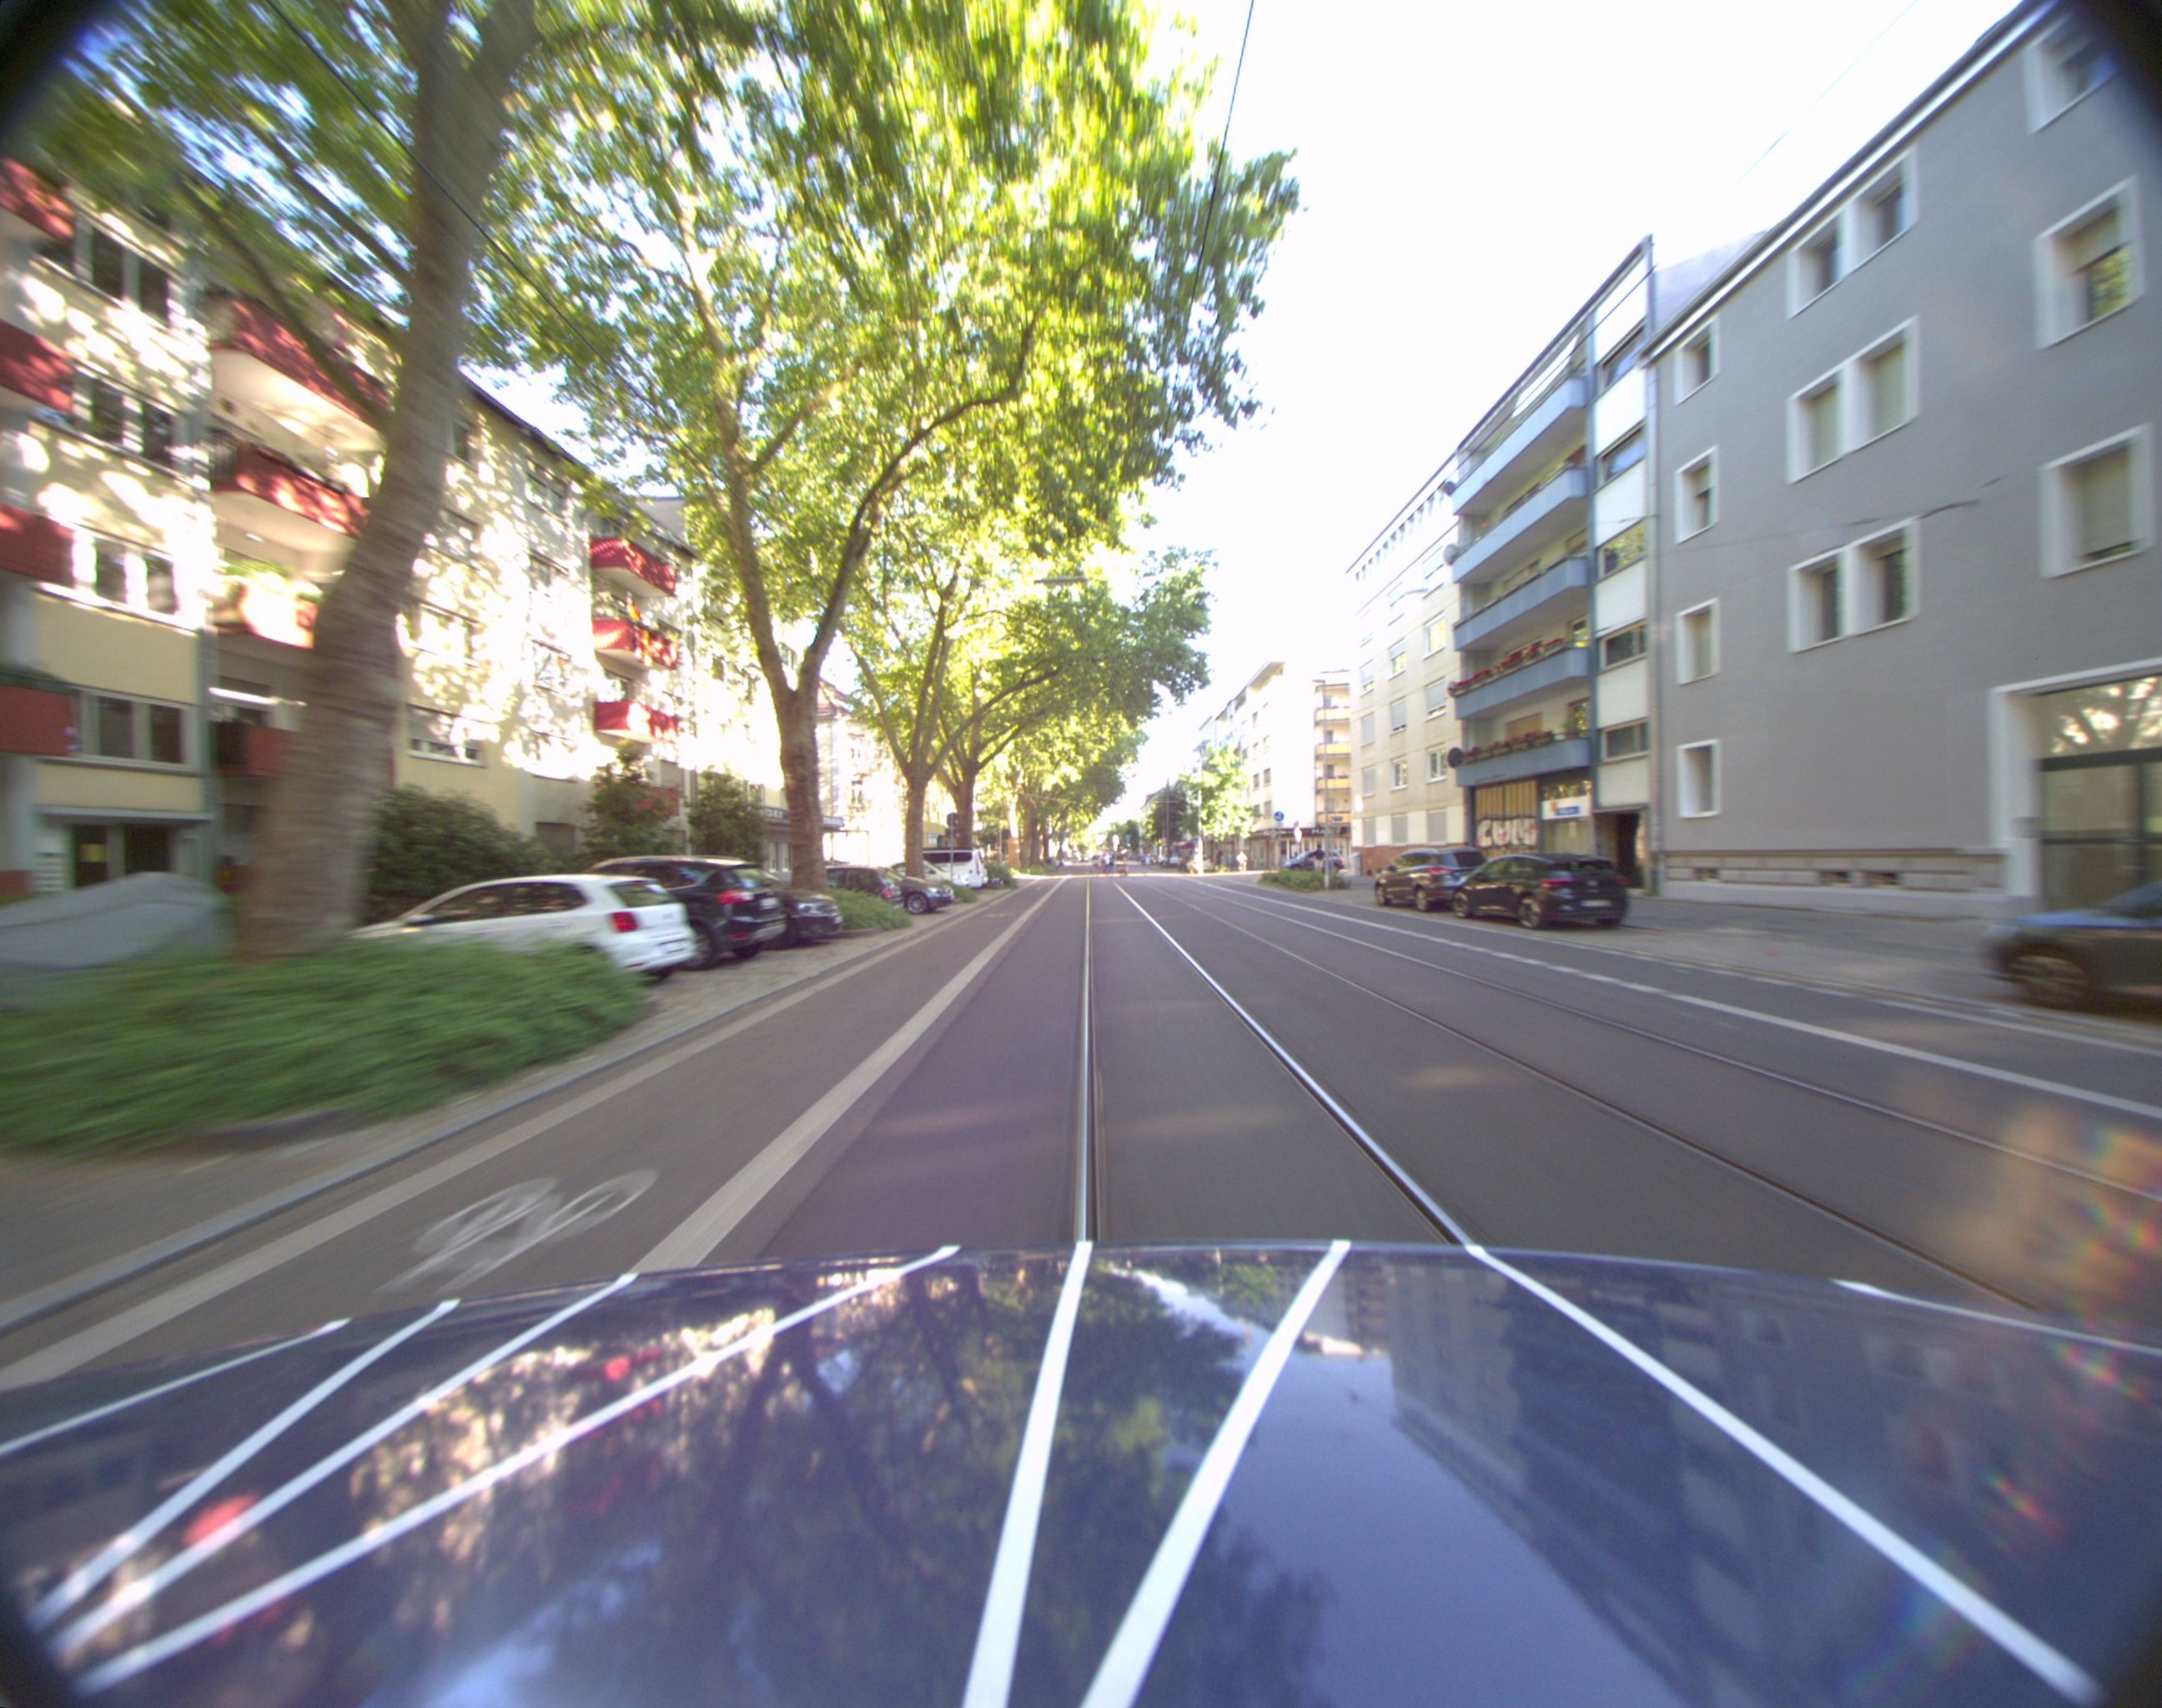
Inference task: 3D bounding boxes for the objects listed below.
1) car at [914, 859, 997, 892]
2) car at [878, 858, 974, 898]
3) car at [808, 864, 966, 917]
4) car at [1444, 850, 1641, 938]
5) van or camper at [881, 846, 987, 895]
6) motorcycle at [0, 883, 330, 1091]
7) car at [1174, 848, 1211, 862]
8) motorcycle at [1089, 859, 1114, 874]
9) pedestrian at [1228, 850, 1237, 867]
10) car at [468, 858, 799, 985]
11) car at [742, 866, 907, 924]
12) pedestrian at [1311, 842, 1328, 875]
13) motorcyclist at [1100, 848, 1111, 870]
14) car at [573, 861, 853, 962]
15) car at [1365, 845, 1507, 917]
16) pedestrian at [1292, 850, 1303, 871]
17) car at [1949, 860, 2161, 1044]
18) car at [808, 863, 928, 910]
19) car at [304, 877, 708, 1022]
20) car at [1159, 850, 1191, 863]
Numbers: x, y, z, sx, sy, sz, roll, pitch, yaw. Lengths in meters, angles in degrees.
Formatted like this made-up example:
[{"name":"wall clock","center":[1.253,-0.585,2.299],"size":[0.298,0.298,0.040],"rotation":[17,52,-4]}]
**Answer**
[{"name":"car","center":[-5.978,1.011,36.330],"size":[3.570,1.431,1.727],"rotation":[-1,1,4]},{"name":"car","center":[-6.324,0.959,31.267],"size":[3.572,1.522,1.677],"rotation":[-1,1,-1]},{"name":"car","center":[-5.719,1.066,22.807],"size":[4.206,1.473,1.911],"rotation":[0,1,2]},{"name":"car","center":[9.760,0.749,16.519],"size":[1.660,1.591,4.202],"rotation":[-3,0,0]},{"name":"van or camper","center":[-6.500,0.699,33.907],"size":[4.388,2.097,1.838],"rotation":[-1,1,-3]},{"name":"motorcycle","center":[-8.595,1.059,6.829],"size":[0.842,1.470,2.818],"rotation":[-1,0,0]},{"name":"car","center":[12.491,0.144,85.290],"size":[3.953,1.515,1.587],"rotation":[-1,1,4]},{"name":"motorcycle","center":[1.507,0.916,56.812],"size":[1.831,1.112,0.590],"rotation":[-1,1,-2]},{"name":"pedestrian","center":[13.508,0.367,67.685],"size":[0.596,1.496,0.655],"rotation":[-2,1,1]},{"name":"car","center":[-6.724,0.971,11.742],"size":[4.003,1.734,1.805],"rotation":[-1,0,1]},{"name":"car","center":[-6.736,1.061,20.287],"size":[3.836,1.435,1.699],"rotation":[0,1,-3]},{"name":"pedestrian","center":[14.060,0.247,44.747],"size":[0.773,1.888,0.799],"rotation":[-2,1,8]},{"name":"motorcyclist","center":[1.855,0.390,56.829],"size":[0.756,1.609,0.588],"rotation":[-1,1,-1]},{"name":"car","center":[-6.673,1.009,14.147],"size":[4.302,1.643,1.742],"rotation":[-1,1,-2]},{"name":"car","center":[9.821,0.679,21.468],"size":[1.784,1.728,4.489],"rotation":[-3,0,-1]},{"name":"pedestrian","center":[15.572,0.442,54.636],"size":[0.595,1.496,0.656],"rotation":[-2,1,8]},{"name":"car","center":[9.901,0.831,5.759],"size":[1.798,1.482,4.240],"rotation":[-1,0,0]},{"name":"car","center":[-6.992,1.039,25.183],"size":[3.483,1.473,1.643],"rotation":[0,1,1]},{"name":"car","center":[-6.792,1.086,9.278],"size":[3.618,1.486,1.660],"rotation":[-1,1,-1]},{"name":"car","center":[12.229,0.332,99.027],"size":[3.953,1.515,1.587],"rotation":[-1,1,4]}]
